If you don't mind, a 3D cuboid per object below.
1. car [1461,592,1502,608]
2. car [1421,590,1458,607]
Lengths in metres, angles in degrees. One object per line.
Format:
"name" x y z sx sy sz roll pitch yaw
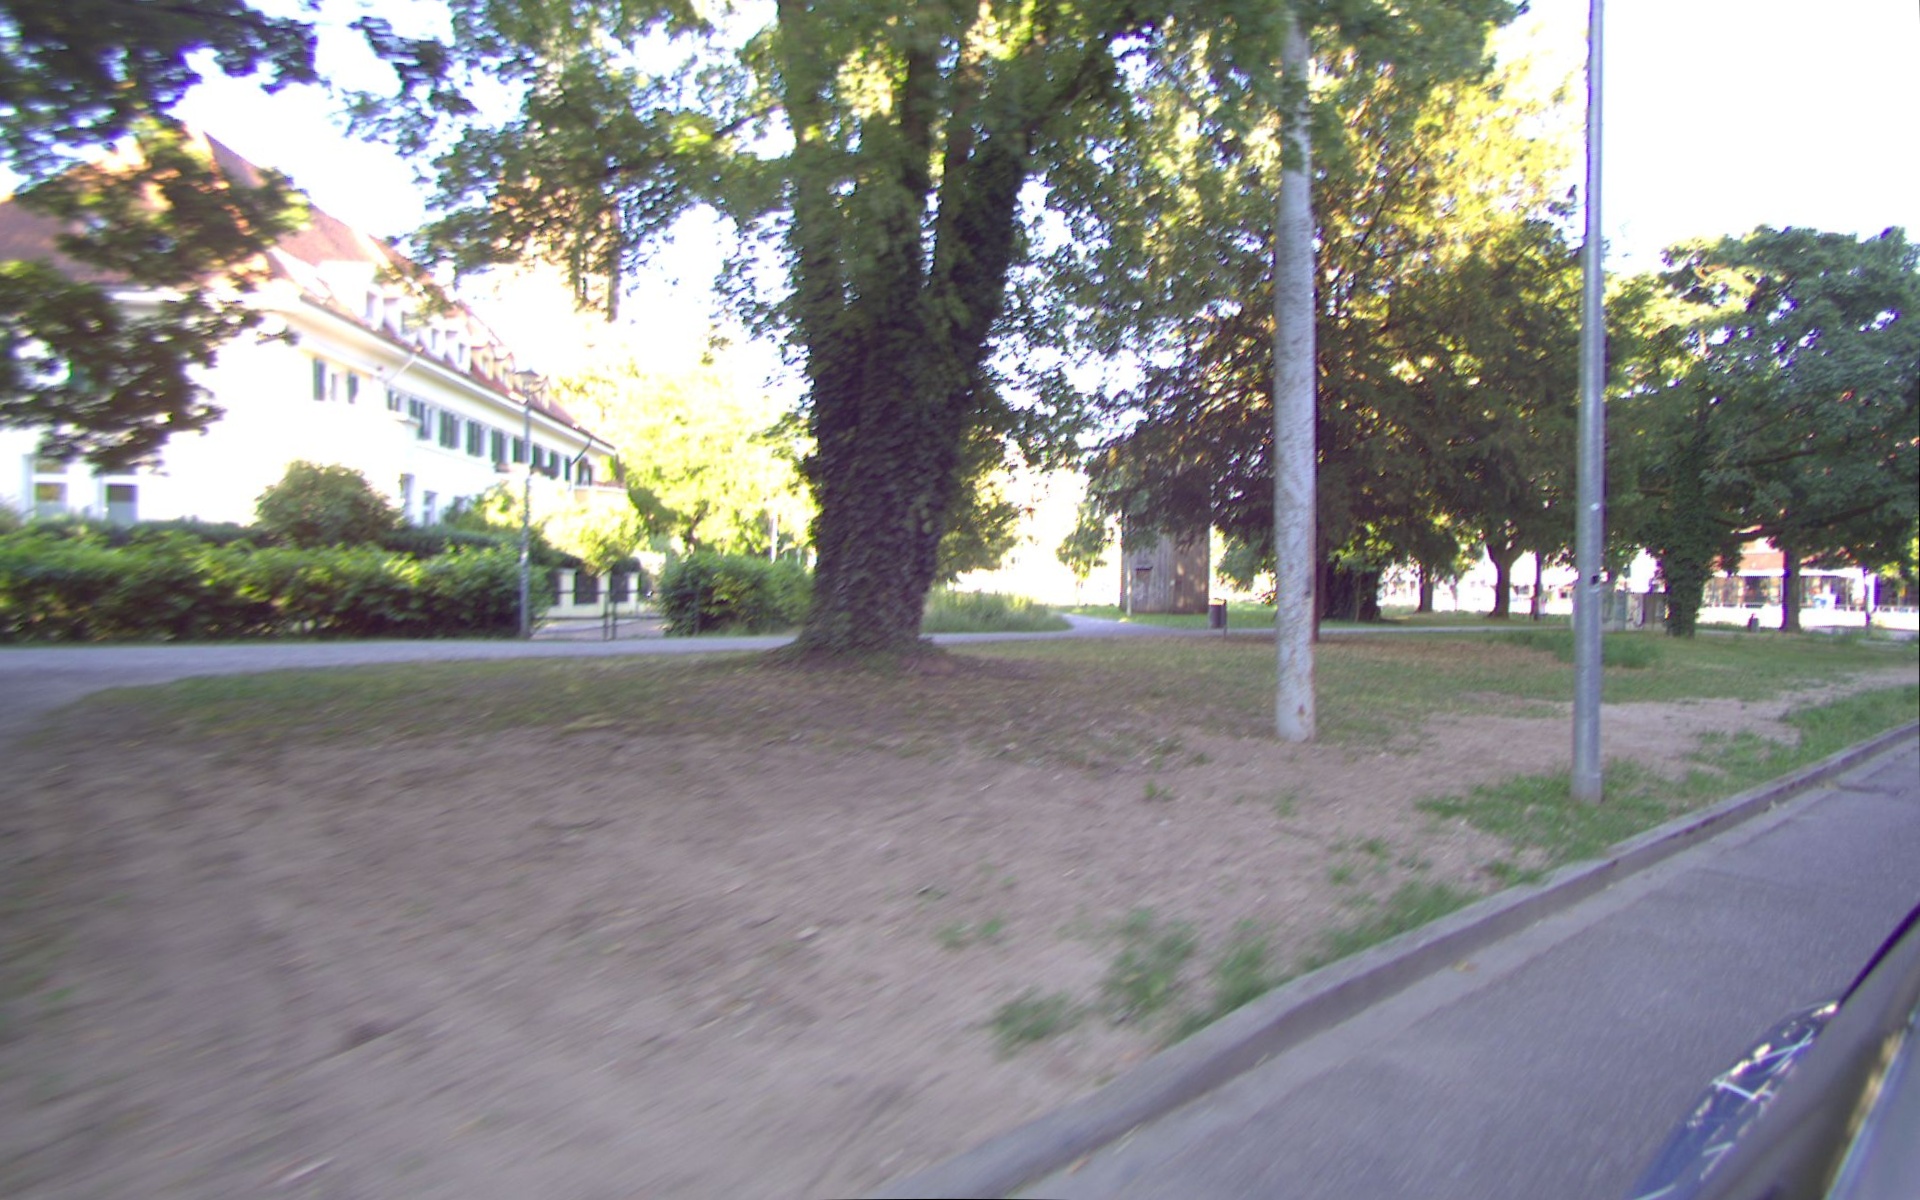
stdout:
"car" 60.360 -0.023 117.262 1.961 1.820 4.898 1 1 -3
"car" 59.734 -0.193 126.230 1.960 2.039 4.780 1 1 -5
